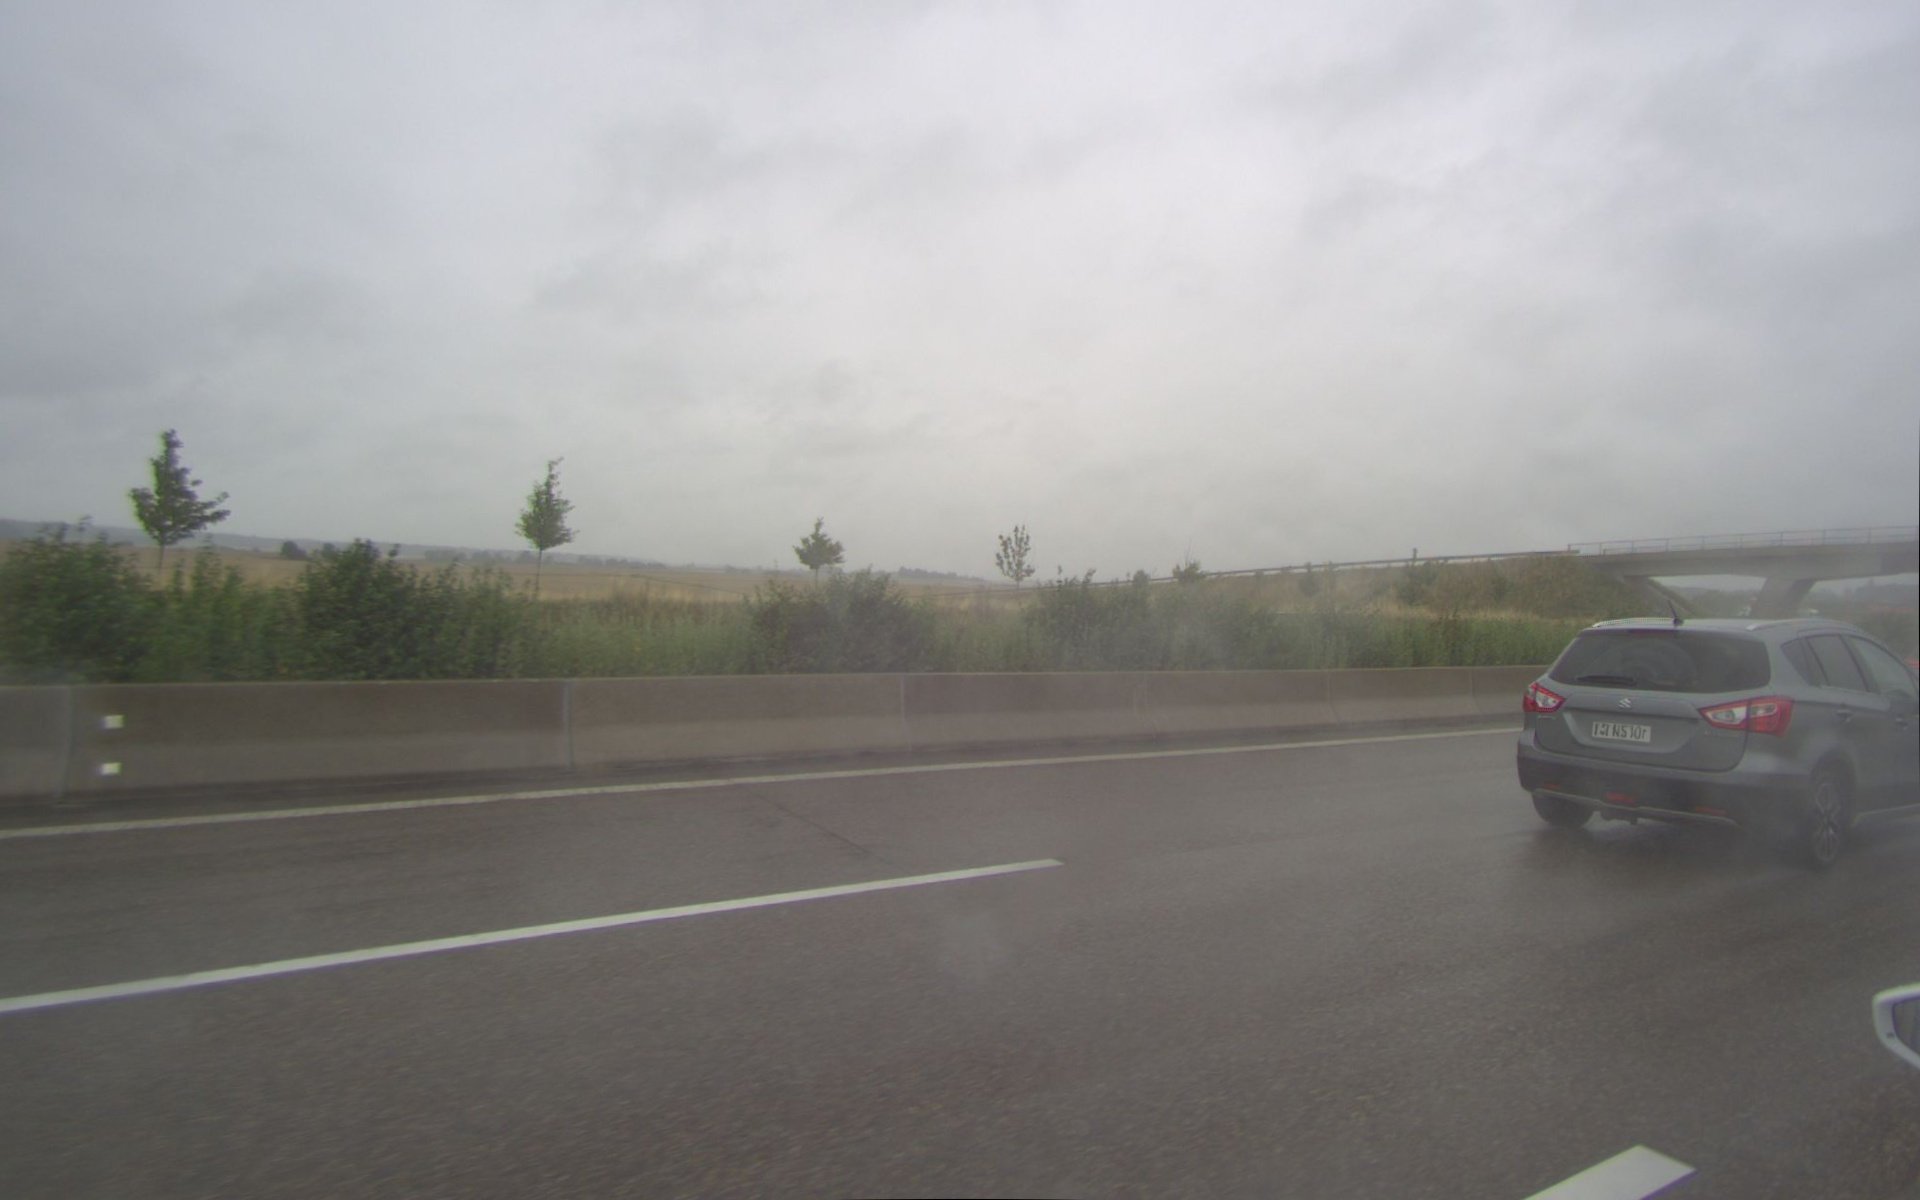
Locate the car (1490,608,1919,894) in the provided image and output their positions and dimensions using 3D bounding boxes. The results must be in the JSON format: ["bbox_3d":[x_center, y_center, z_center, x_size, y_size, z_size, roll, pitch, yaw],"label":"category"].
[{"bbox_3d":[6.127,0.886,7.581,4.709,1.533,1.834,2,-1,-35],"label":"car"}]

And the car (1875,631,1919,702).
[{"bbox_3d":[20.699,1.376,20.923,3.960,1.372,1.602,2,0,-35],"label":"car"}]
